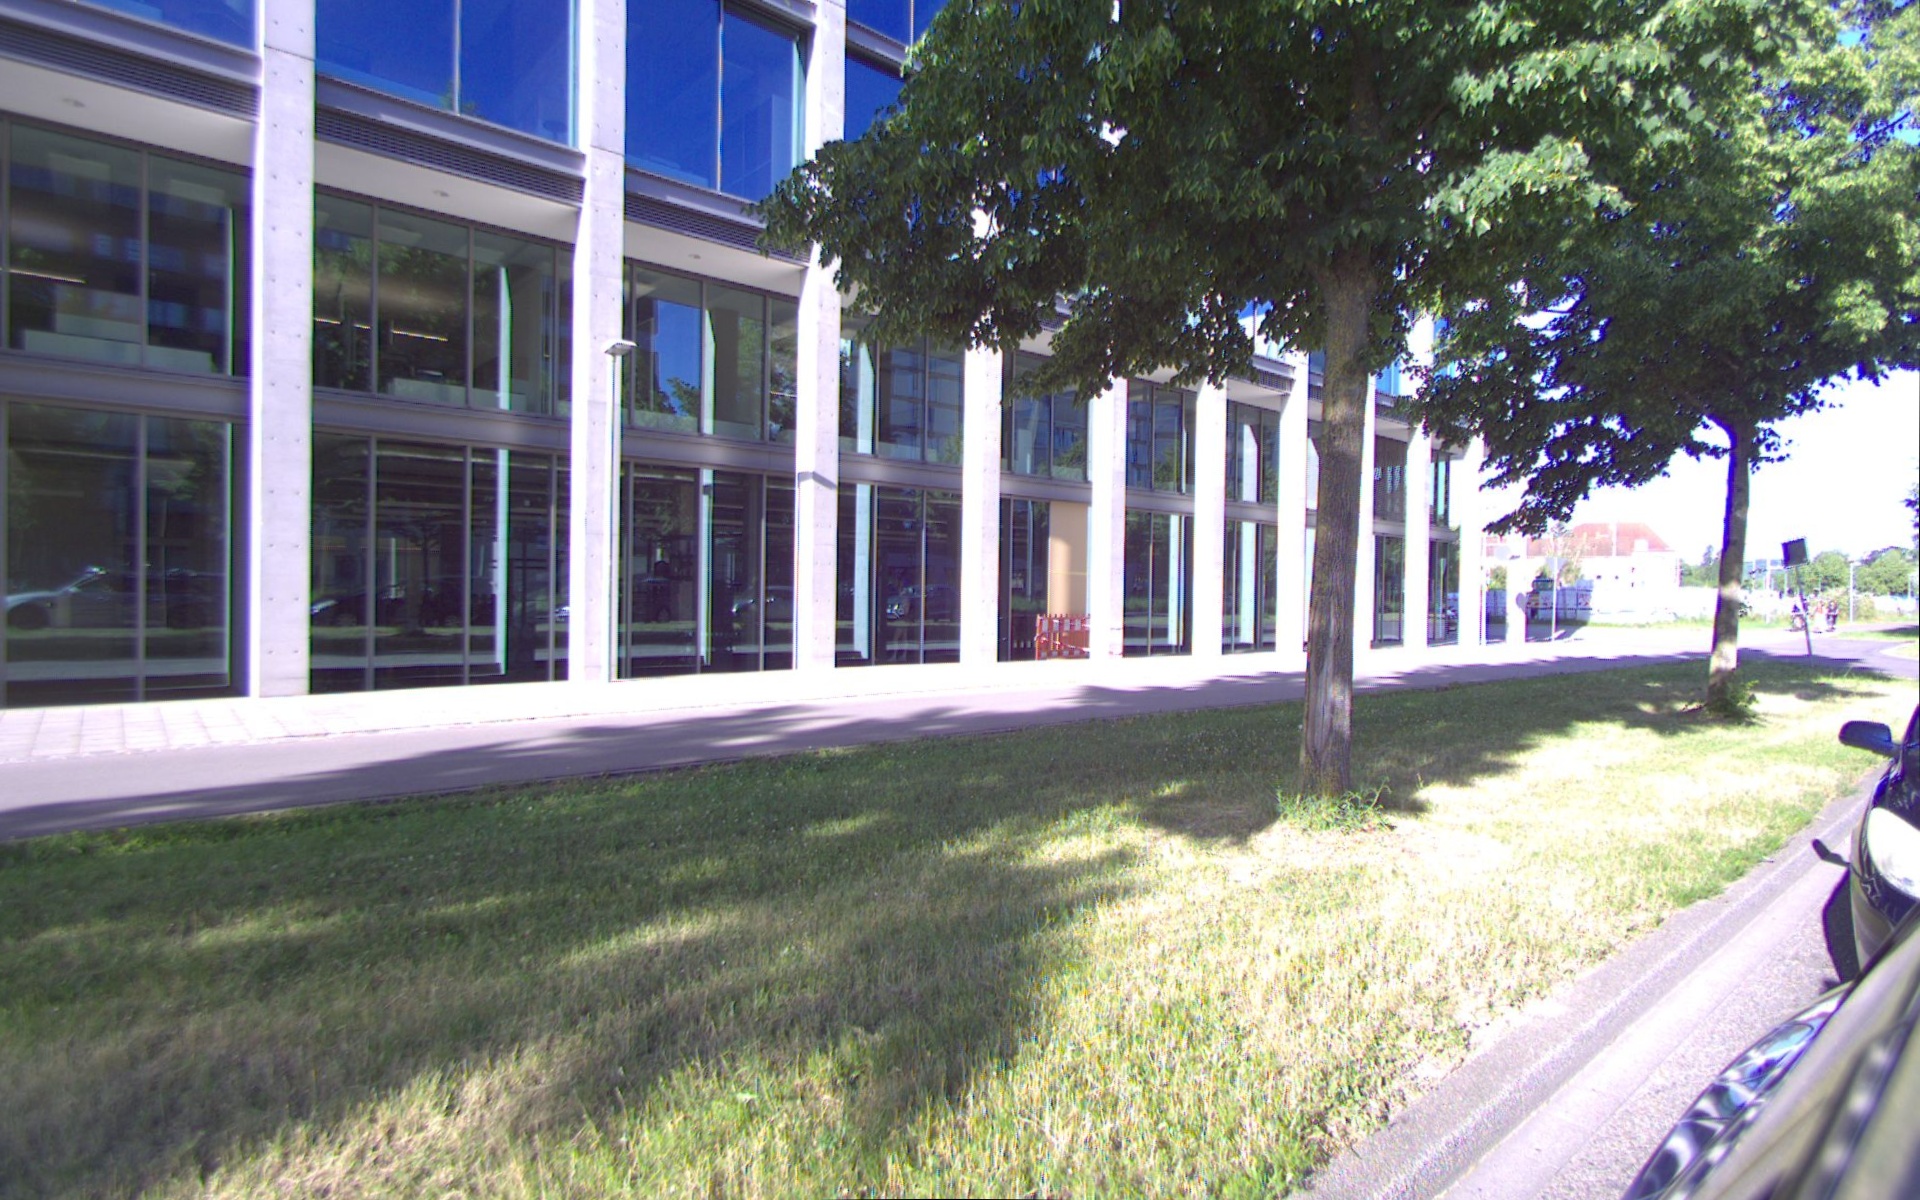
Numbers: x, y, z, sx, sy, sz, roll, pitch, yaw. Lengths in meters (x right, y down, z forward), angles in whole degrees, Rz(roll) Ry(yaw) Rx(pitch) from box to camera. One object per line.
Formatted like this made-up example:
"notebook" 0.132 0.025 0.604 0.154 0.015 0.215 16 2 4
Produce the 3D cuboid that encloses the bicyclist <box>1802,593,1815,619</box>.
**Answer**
"bicyclist" 42.925 0.297 51.183 0.410 1.305 0.448 0 0 -40

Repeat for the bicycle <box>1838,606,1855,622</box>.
"bicycle" 46.682 0.737 53.300 1.321 0.828 0.464 -1 0 -40

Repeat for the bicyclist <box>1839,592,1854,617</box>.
"bicyclist" 46.714 0.257 53.334 0.512 1.305 0.534 0 0 -40

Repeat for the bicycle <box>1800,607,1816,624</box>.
"bicycle" 42.901 0.765 51.193 1.296 0.828 0.415 -1 0 -40

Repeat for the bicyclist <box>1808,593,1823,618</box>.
"bicyclist" 45.604 0.285 53.952 0.449 1.305 0.534 0 0 -40

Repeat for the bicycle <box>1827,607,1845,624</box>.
"bicycle" 43.700 0.768 50.481 1.321 0.828 0.464 -1 0 -40

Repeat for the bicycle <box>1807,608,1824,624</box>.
"bicycle" 45.566 0.836 53.907 1.321 0.828 0.464 -1 0 -40

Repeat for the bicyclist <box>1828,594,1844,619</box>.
"bicyclist" 43.705 0.336 50.491 0.498 1.232 0.534 0 0 -40

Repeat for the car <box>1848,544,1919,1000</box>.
"car" 5.079 0.592 4.135 3.719 1.541 1.685 0 1 -41
